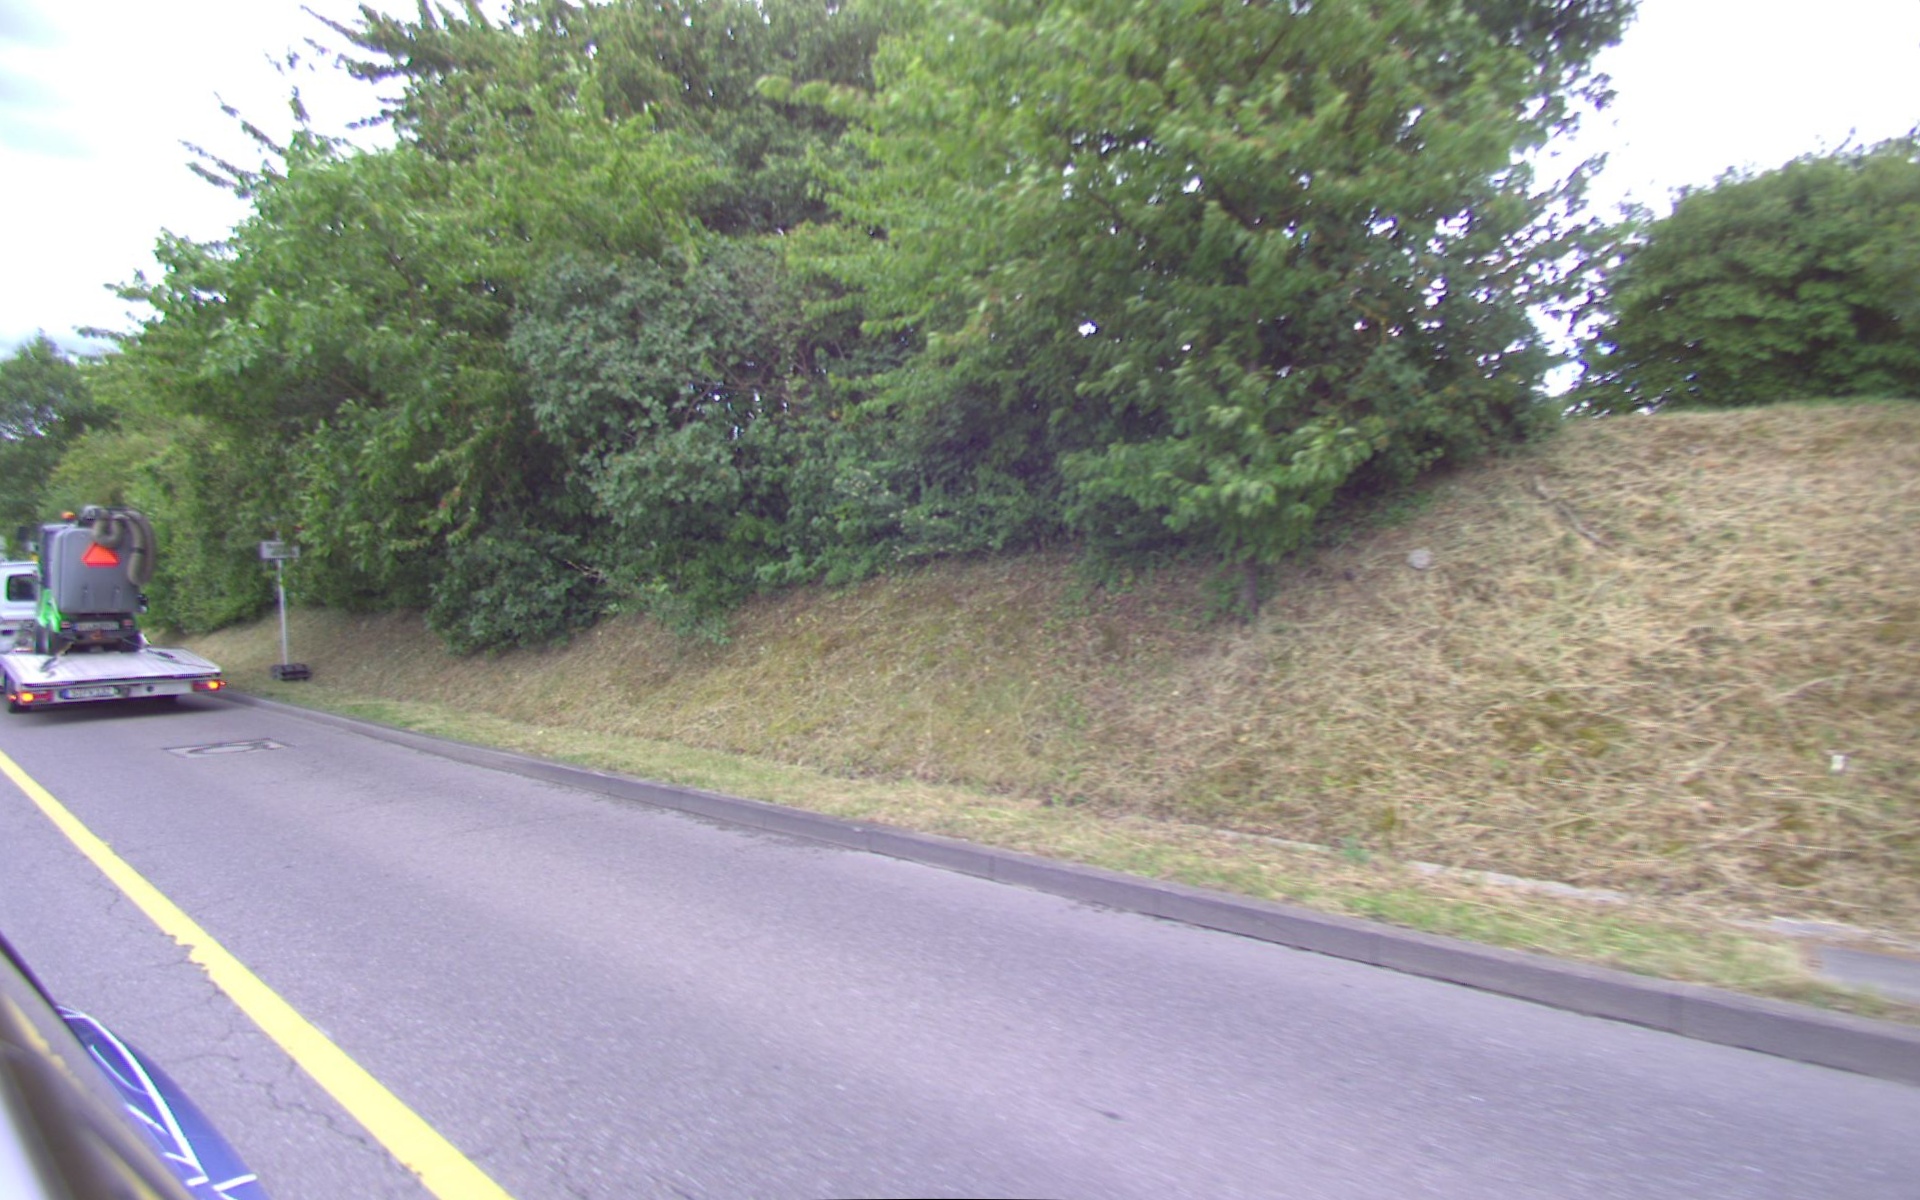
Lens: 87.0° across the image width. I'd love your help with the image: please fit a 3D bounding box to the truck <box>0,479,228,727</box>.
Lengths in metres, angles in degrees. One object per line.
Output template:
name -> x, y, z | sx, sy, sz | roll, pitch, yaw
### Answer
truck -> -13.783, 0.079, 15.819 | 7.737, 3.037, 2.191 | -1, -1, 42
